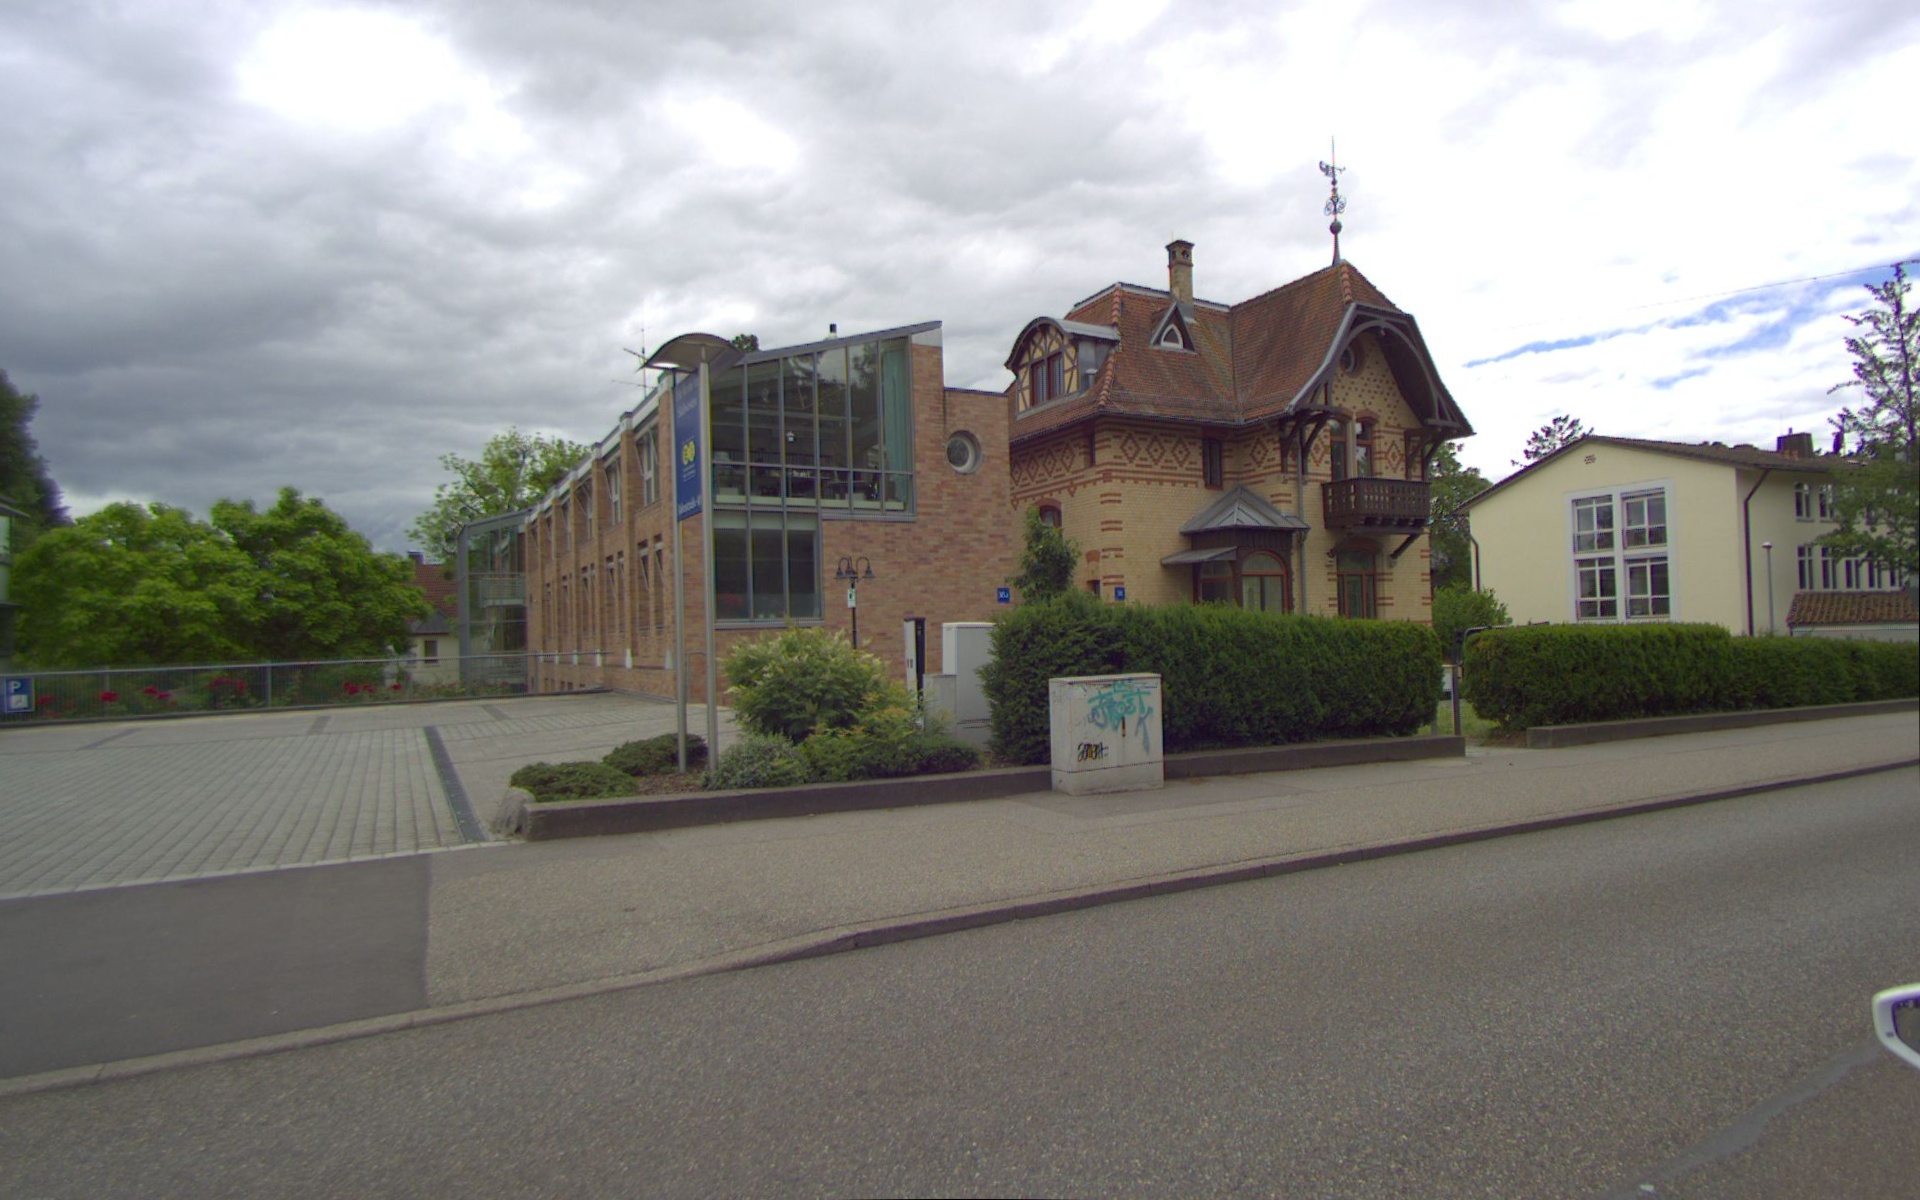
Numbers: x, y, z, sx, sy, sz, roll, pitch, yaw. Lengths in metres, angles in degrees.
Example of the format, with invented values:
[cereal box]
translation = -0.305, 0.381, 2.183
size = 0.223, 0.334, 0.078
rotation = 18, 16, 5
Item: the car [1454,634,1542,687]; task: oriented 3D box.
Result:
[car]
translation = 17.405, 1.915, 32.444
size = 1.666, 1.616, 3.487
rotation = -1, -3, 43
